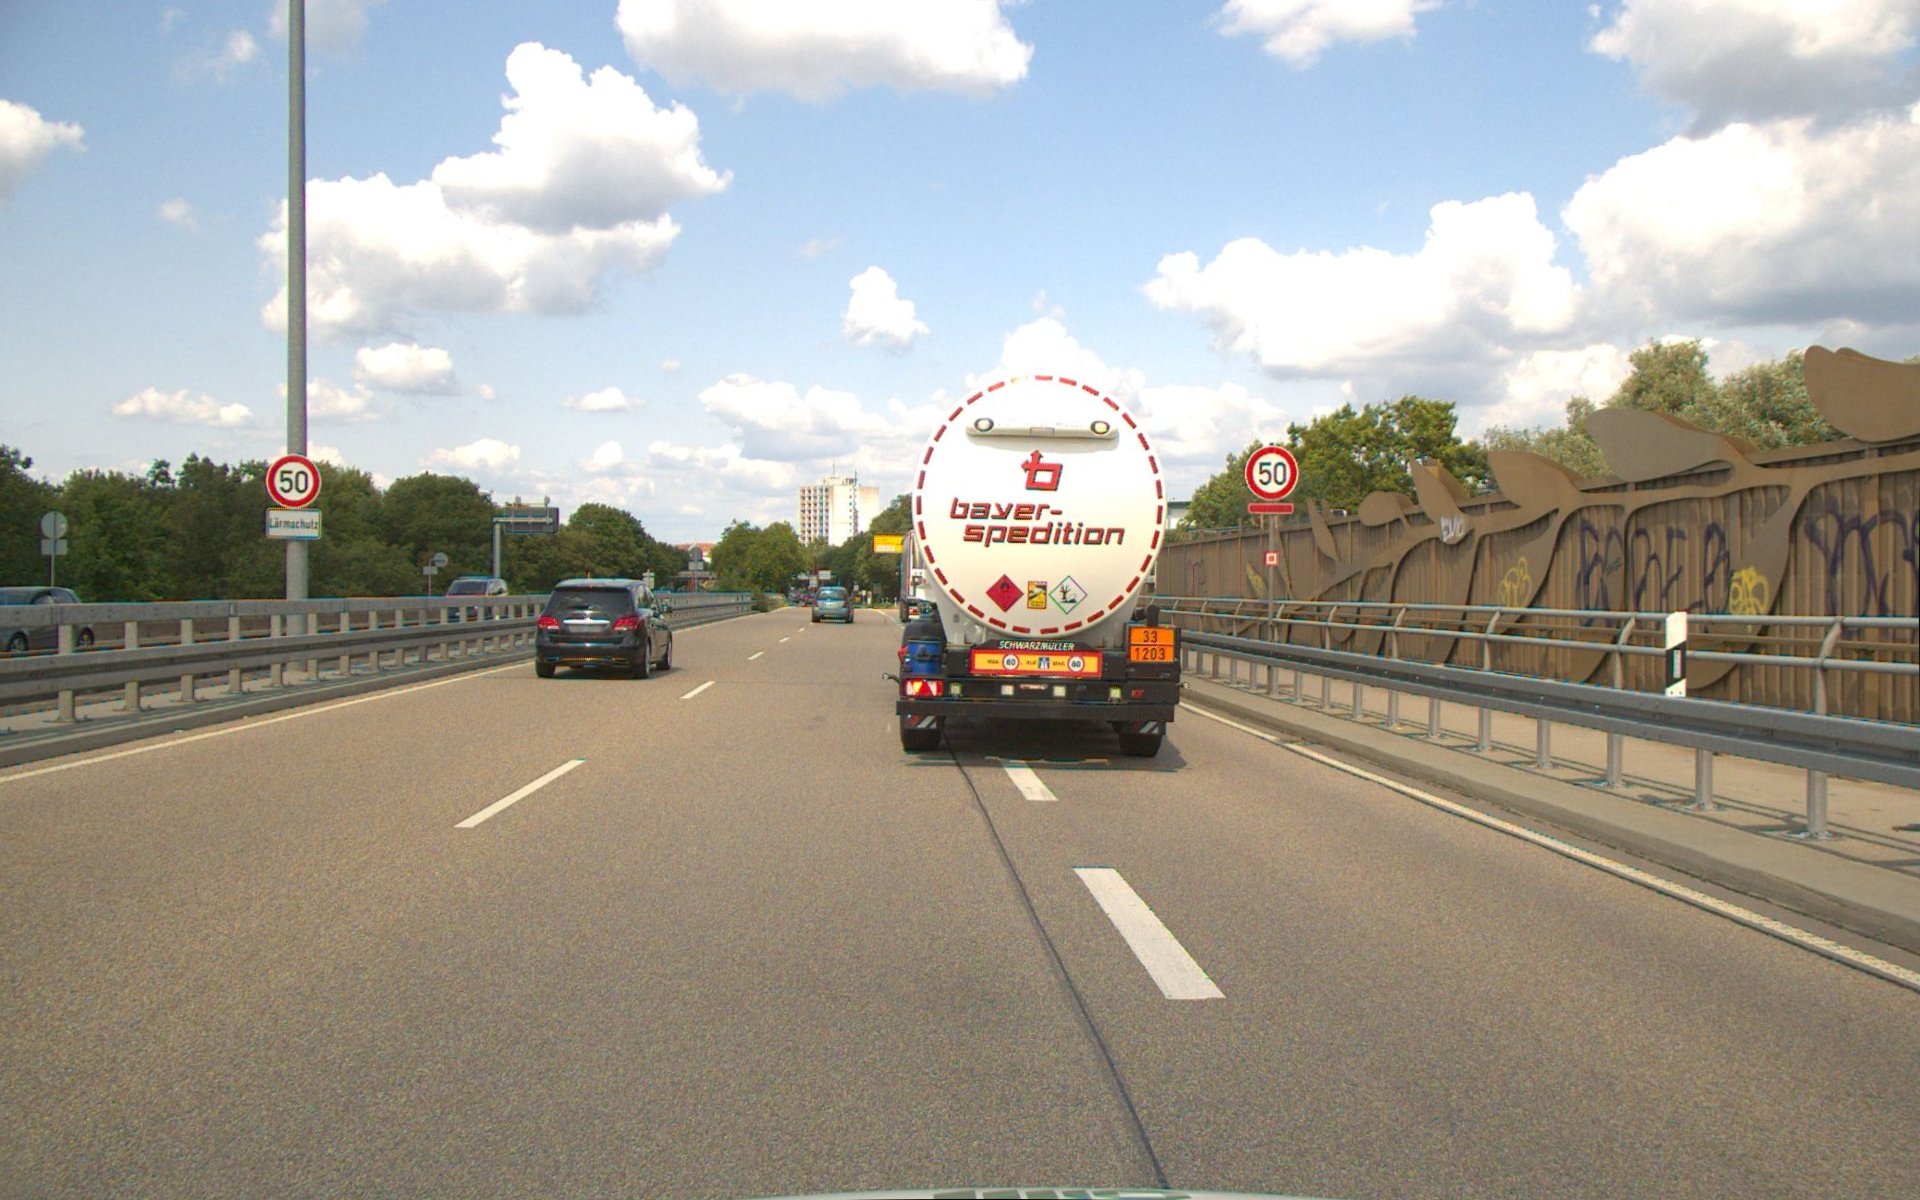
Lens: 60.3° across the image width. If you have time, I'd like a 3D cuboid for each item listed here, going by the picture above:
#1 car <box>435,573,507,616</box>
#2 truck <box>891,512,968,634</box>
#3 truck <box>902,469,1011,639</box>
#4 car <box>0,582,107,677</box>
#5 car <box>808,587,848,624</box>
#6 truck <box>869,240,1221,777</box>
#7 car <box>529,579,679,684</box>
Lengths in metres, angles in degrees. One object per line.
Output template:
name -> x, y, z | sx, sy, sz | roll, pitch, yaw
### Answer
car -> -19.997, -0.230, 67.821 | 1.954, 1.668, 3.997 | 2, 0, -4
truck -> -1.427, -1.136, 71.573 | 2.838, 4.891, 8.024 | 2, 0, -4
truck -> -0.243, -1.386, 52.675 | 2.838, 4.891, 8.024 | 2, 0, -4
car -> -17.733, 0.495, 30.603 | 1.954, 1.601, 3.997 | 2, 0, -4
car -> -5.928, 0.220, 74.728 | 1.713, 1.558, 3.998 | 1, 1, -3
truck -> 1.009, -0.807, 17.927 | 2.834, 4.445, 8.034 | 2, 0, 4
car -> -5.798, 0.458, 27.442 | 1.677, 1.554, 4.590 | 2, 0, -3
